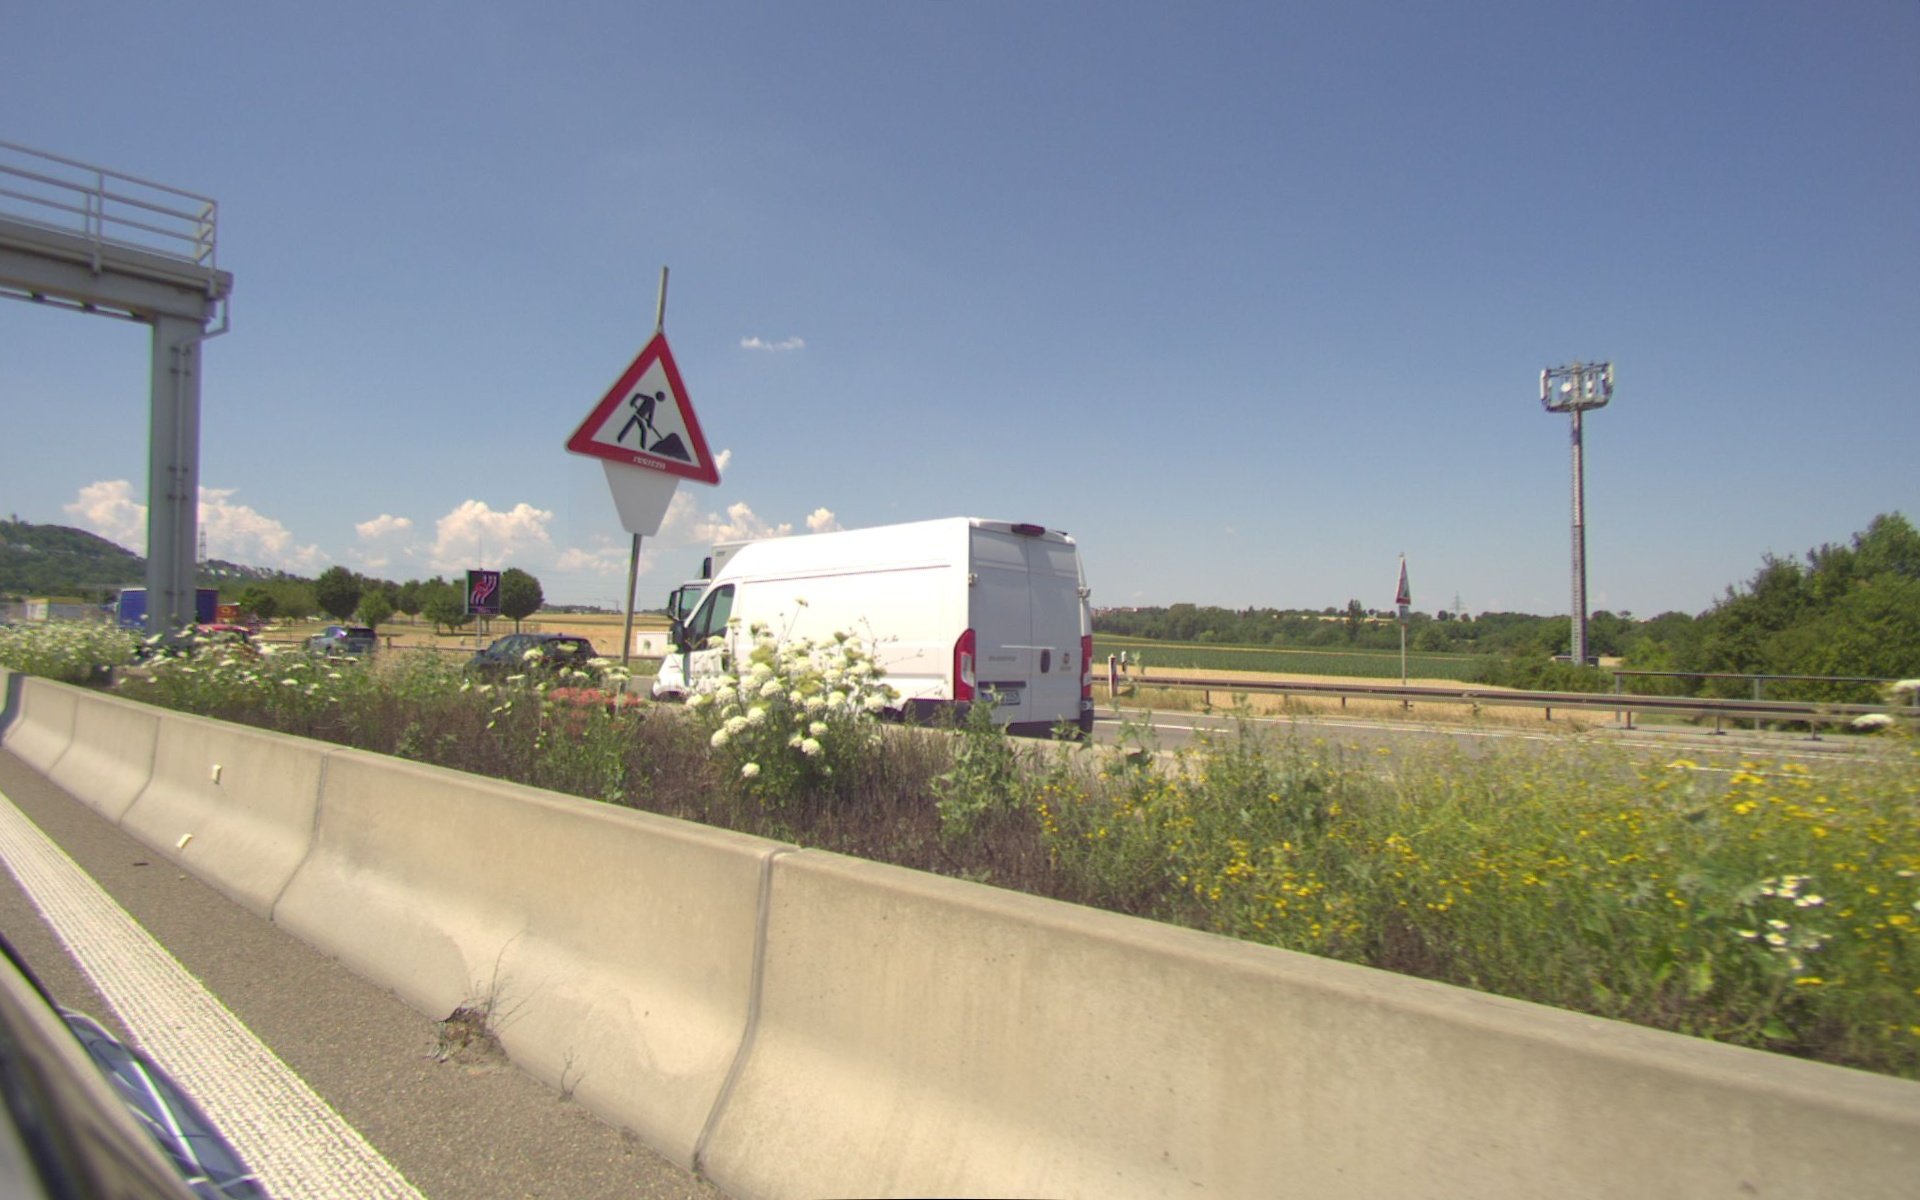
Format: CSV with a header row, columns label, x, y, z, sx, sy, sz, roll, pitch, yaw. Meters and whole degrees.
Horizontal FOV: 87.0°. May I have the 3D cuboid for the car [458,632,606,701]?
label,x,y,z,sx,sy,sz,roll,pitch,yaw
car,-9.841,1.456,23.162,3.834,1.453,1.543,-2,-3,41

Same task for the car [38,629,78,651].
label,x,y,z,sx,sy,sz,roll,pitch,yaw
car,-62.148,2.741,69.734,4.227,1.519,1.571,-1,-3,42

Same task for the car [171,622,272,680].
label,x,y,z,sx,sy,sz,roll,pitch,yaw
car,-21.317,1.431,29.170,3.702,1.582,1.543,-2,-2,41

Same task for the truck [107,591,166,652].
label,x,y,z,sx,sy,sz,roll,pitch,yaw
truck,-57.637,1.554,70.817,4.658,4.118,2.385,-1,-3,42

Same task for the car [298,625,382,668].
label,x,y,z,sx,sy,sz,roll,pitch,yaw
car,-26.214,1.935,42.752,4.078,1.732,1.813,-1,-4,41

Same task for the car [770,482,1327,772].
label,x,y,z,sx,sy,sz,roll,pitch,yaw
car,0.582,0.245,9.168,4.792,1.961,1.973,-1,-3,41

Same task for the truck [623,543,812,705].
label,x,y,z,sx,sy,sz,roll,pitch,yaw
truck,-6.014,0.636,24.967,3.999,3.615,2.669,-2,-4,42

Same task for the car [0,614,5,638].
label,x,y,z,sx,sy,sz,roll,pitch,yaw
car,-104.589,2.791,108.941,5.809,2.520,2.025,-1,-3,41

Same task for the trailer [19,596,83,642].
label,x,y,z,sx,sy,sz,roll,pitch,yaw
trailer,-87.212,1.922,97.003,14.122,4.160,2.780,-1,-3,41

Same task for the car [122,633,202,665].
label,x,y,z,sx,sy,sz,roll,pitch,yaw
car,-34.972,2.154,44.301,4.276,1.334,1.814,-2,-4,39

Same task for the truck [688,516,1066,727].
label,x,y,z,sx,sy,sz,roll,pitch,yaw
truck,-2.108,0.517,21.387,8.785,3.648,2.670,-2,-4,43

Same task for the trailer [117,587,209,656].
label,x,y,z,sx,sy,sz,roll,pitch,yaw
trailer,-51.747,1.432,65.450,14.095,4.118,2.360,-1,-3,43

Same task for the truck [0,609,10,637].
label,x,y,z,sx,sy,sz,roll,pitch,yaw
truck,-128.705,3.012,134.153,13.285,3.637,2.765,-1,-4,42

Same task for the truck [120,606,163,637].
label,x,y,z,sx,sy,sz,roll,pitch,yaw
truck,-107.947,2.904,133.636,2.860,3.806,13.323,4,-4,-33
